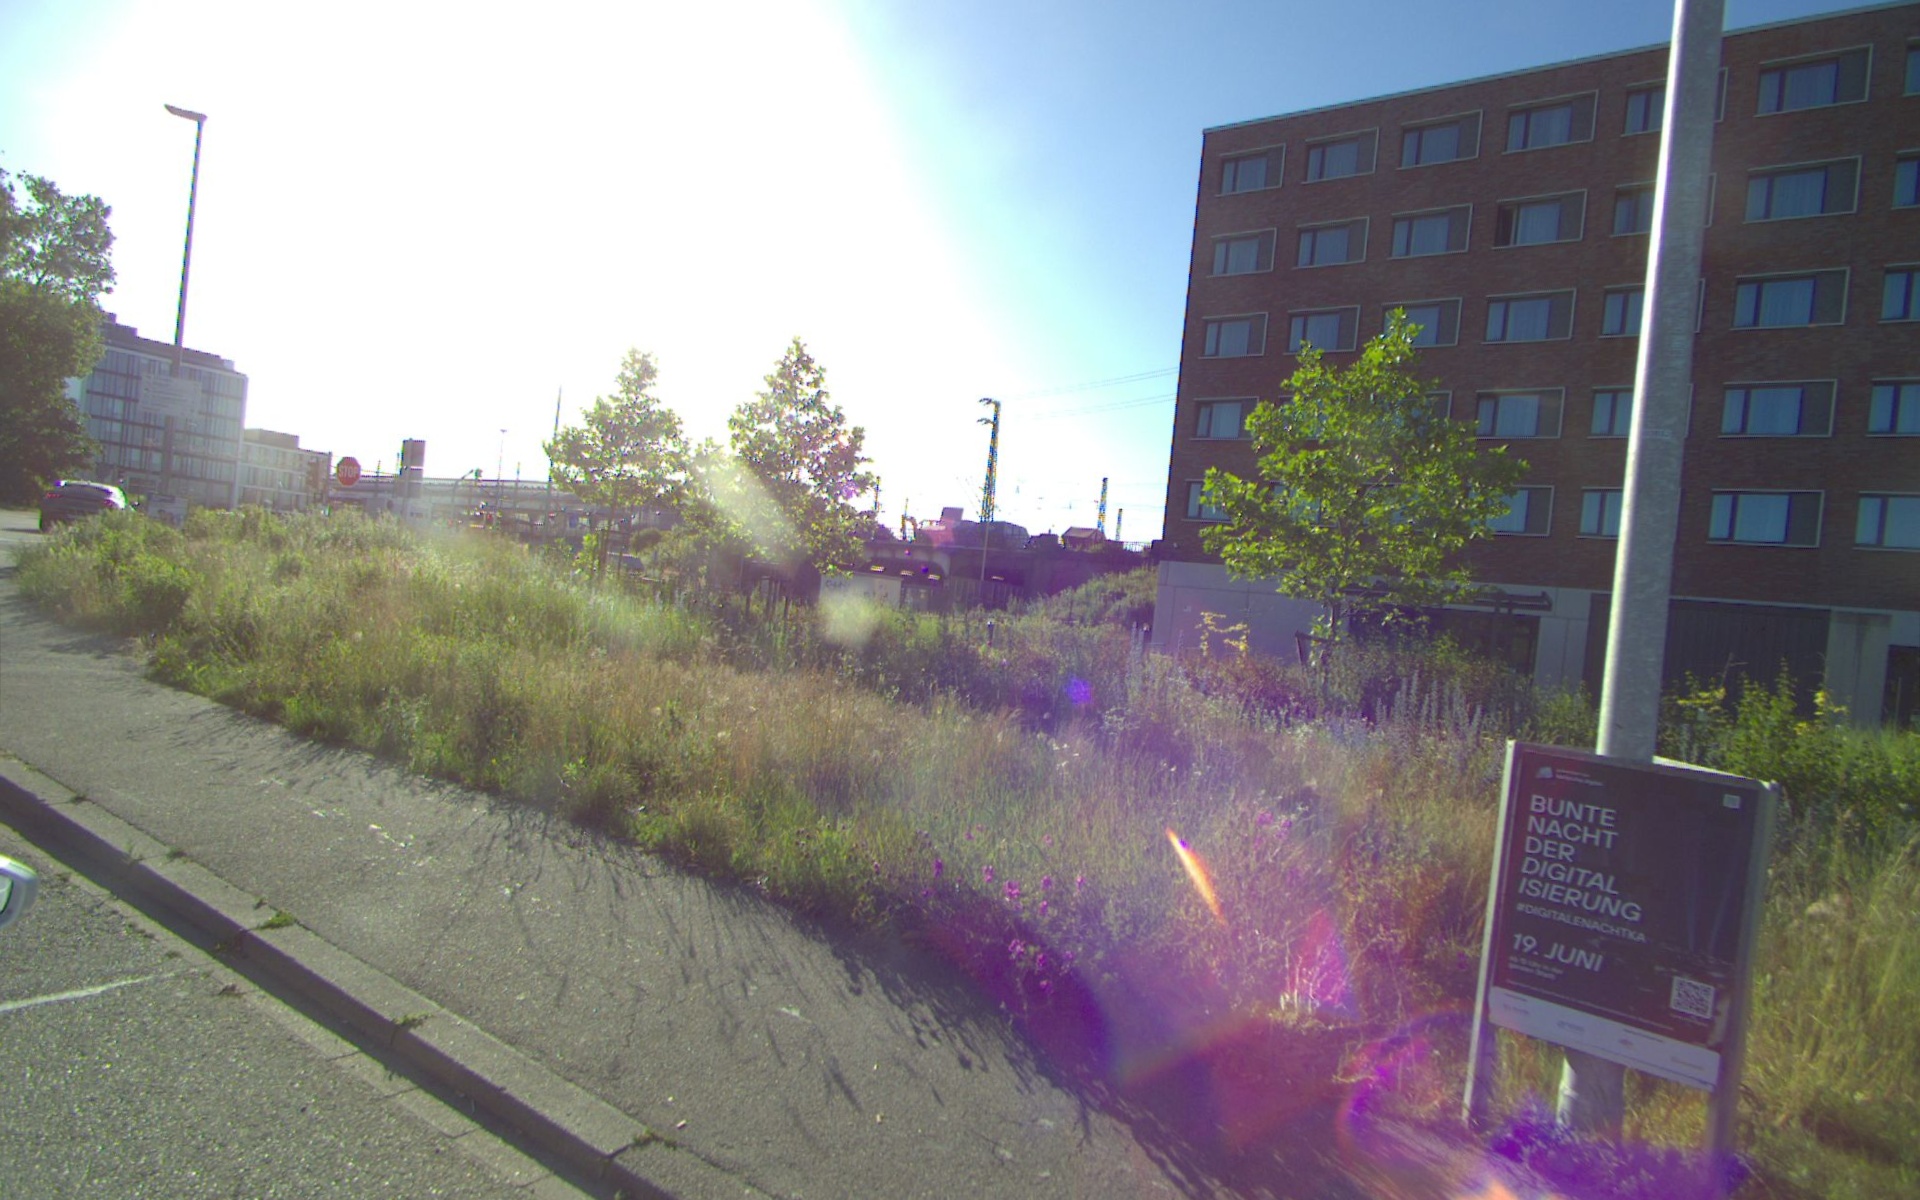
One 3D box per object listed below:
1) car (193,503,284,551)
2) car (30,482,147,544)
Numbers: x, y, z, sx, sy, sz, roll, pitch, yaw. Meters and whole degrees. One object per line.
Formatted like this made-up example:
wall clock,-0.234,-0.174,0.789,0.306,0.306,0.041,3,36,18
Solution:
car,-31.983,-3.191,44.733,1.875,1.615,3.988,7,-1,-15
car,-27.414,-2.682,31.805,1.901,1.547,4.372,8,-1,-31
